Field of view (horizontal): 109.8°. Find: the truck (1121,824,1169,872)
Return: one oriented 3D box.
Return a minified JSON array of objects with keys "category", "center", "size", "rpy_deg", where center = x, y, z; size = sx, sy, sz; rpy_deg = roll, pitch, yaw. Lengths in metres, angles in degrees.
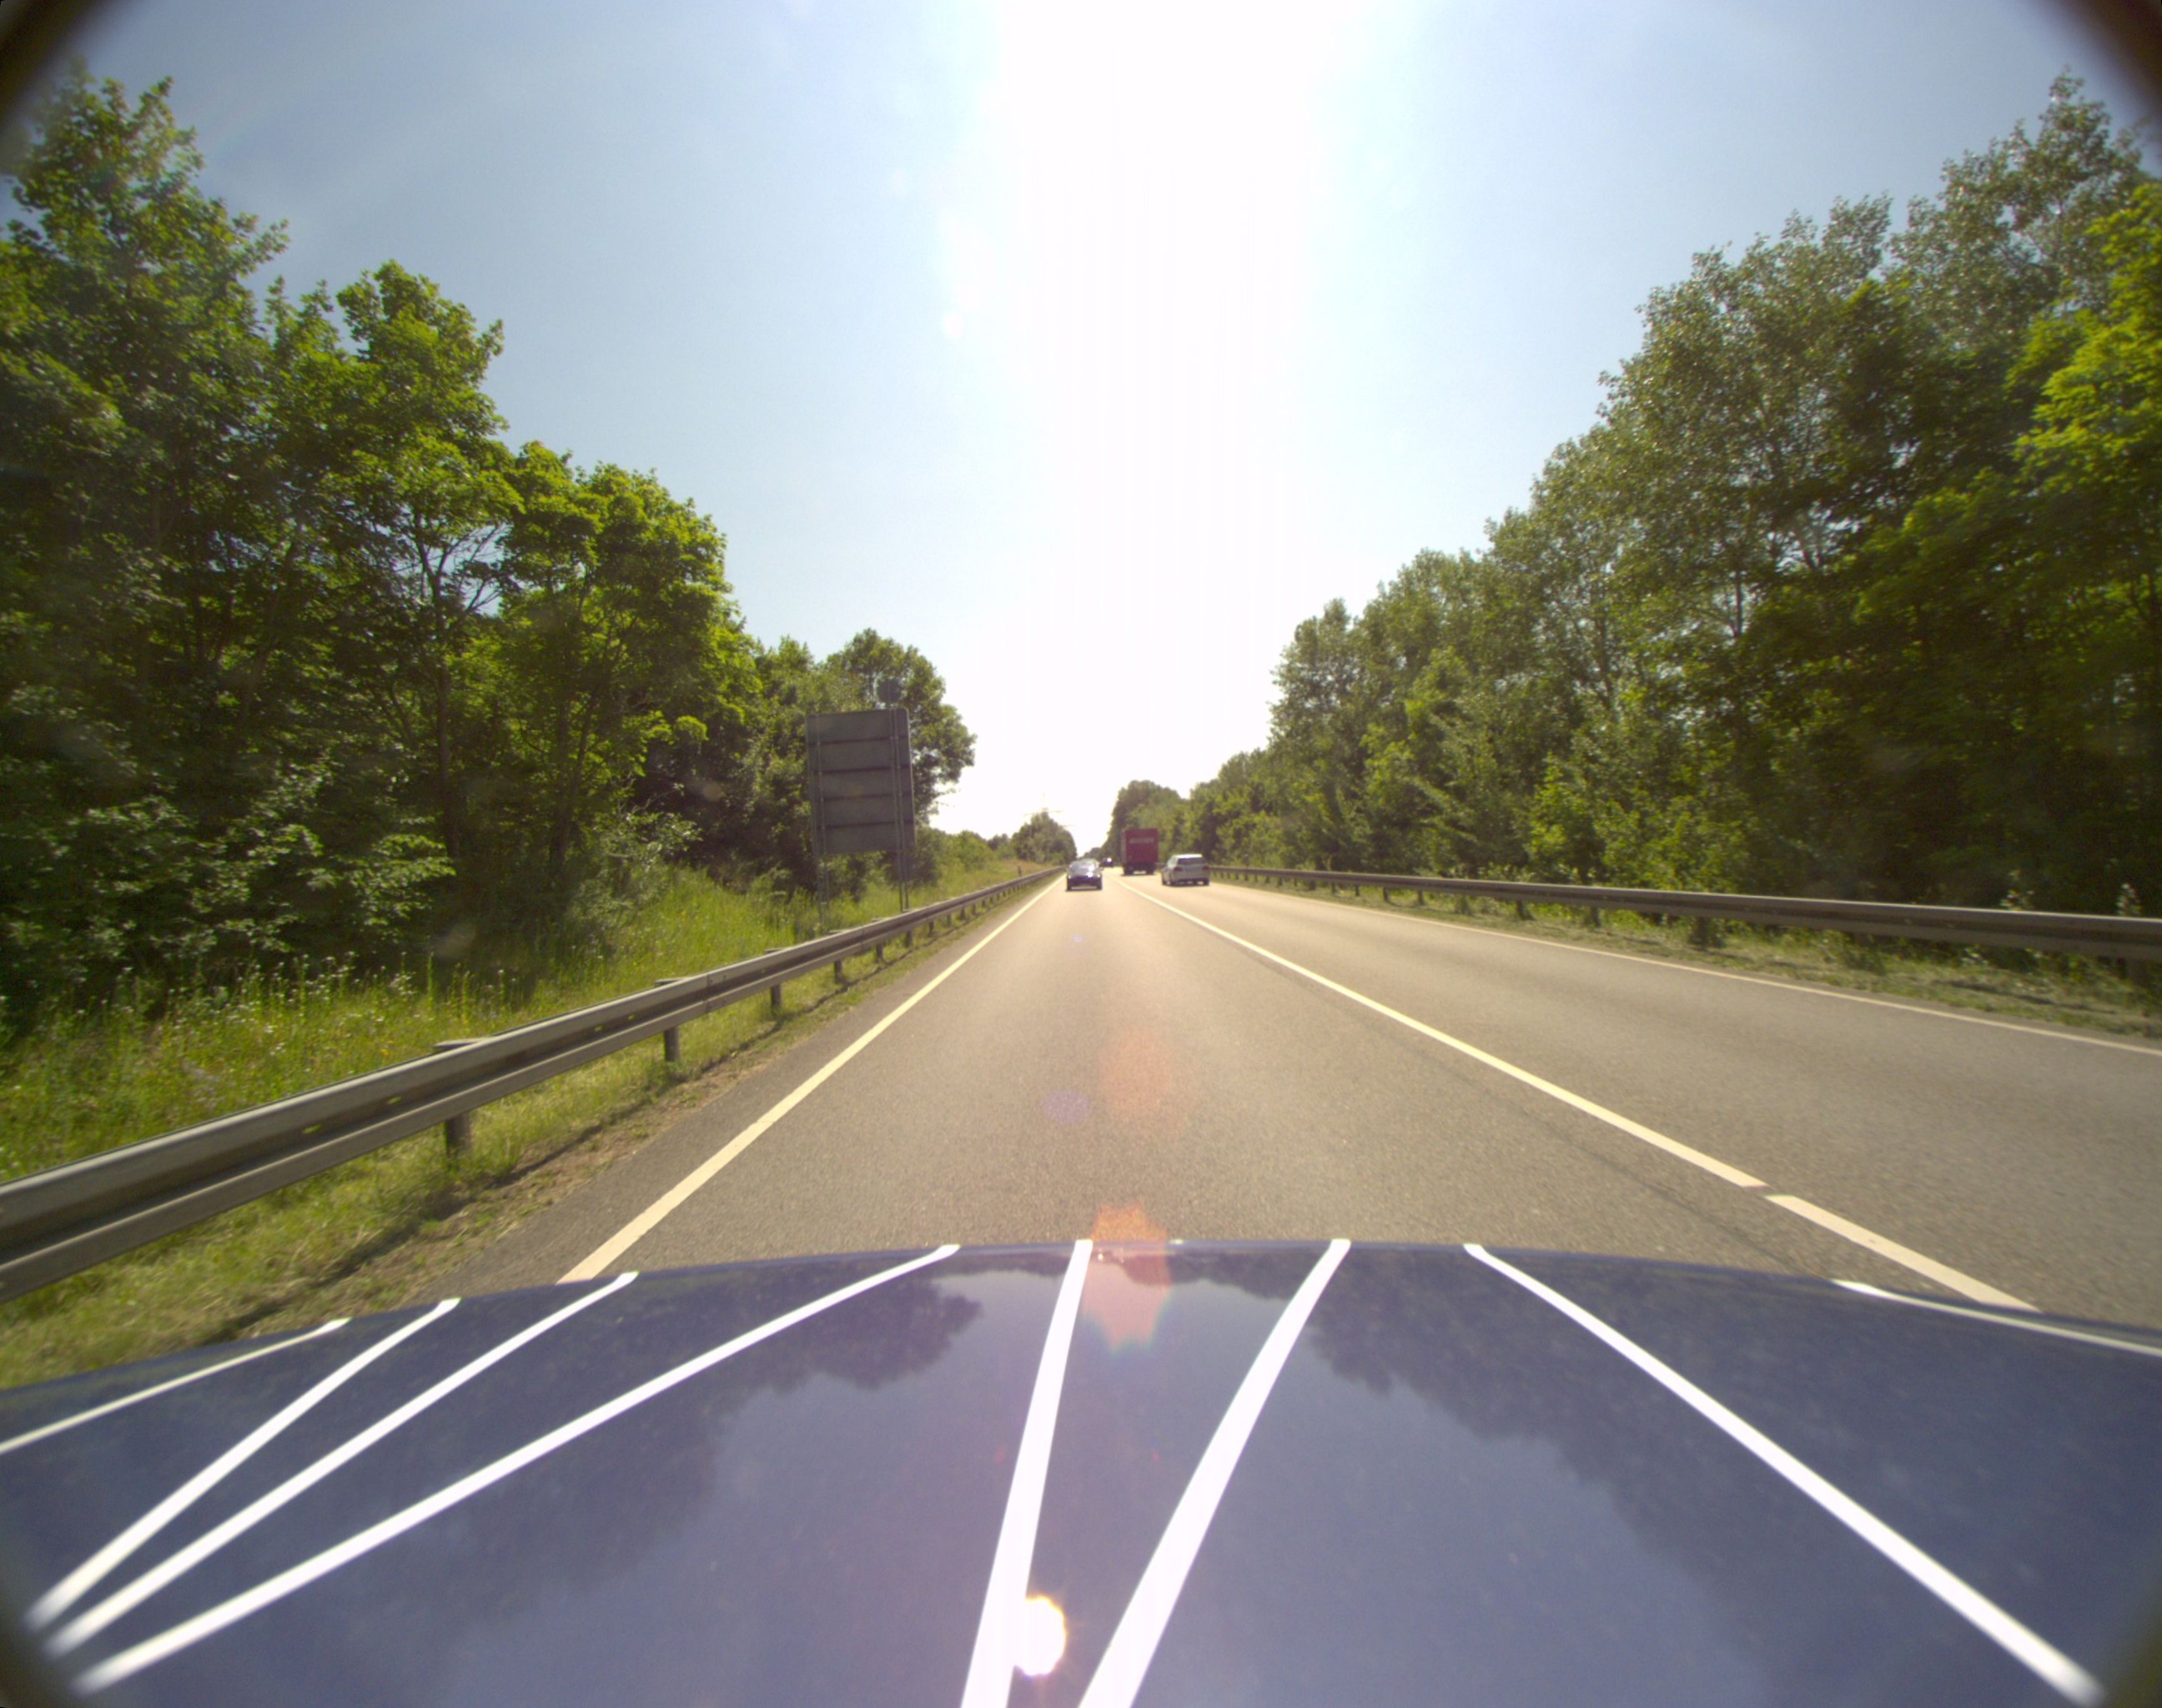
[{"category":"truck","center":[5.238,-0.478,64.254],"size":[3.200,3.678,9.006],"rpy_deg":[-2,0,0]}]

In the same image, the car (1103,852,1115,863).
[{"category":"car","center":[4.578,0.621,123.633],"size":[1.762,1.694,4.000],"rpy_deg":[-2,0,0]}]

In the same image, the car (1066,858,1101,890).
[{"category":"car","center":[0.132,0.928,36.351],"size":[1.529,1.387,3.443],"rpy_deg":[-2,0,0]}]

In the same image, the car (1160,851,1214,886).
[{"category":"car","center":[5.106,0.636,37.234],"size":[1.823,1.537,4.526],"rpy_deg":[-2,1,-2]}]
